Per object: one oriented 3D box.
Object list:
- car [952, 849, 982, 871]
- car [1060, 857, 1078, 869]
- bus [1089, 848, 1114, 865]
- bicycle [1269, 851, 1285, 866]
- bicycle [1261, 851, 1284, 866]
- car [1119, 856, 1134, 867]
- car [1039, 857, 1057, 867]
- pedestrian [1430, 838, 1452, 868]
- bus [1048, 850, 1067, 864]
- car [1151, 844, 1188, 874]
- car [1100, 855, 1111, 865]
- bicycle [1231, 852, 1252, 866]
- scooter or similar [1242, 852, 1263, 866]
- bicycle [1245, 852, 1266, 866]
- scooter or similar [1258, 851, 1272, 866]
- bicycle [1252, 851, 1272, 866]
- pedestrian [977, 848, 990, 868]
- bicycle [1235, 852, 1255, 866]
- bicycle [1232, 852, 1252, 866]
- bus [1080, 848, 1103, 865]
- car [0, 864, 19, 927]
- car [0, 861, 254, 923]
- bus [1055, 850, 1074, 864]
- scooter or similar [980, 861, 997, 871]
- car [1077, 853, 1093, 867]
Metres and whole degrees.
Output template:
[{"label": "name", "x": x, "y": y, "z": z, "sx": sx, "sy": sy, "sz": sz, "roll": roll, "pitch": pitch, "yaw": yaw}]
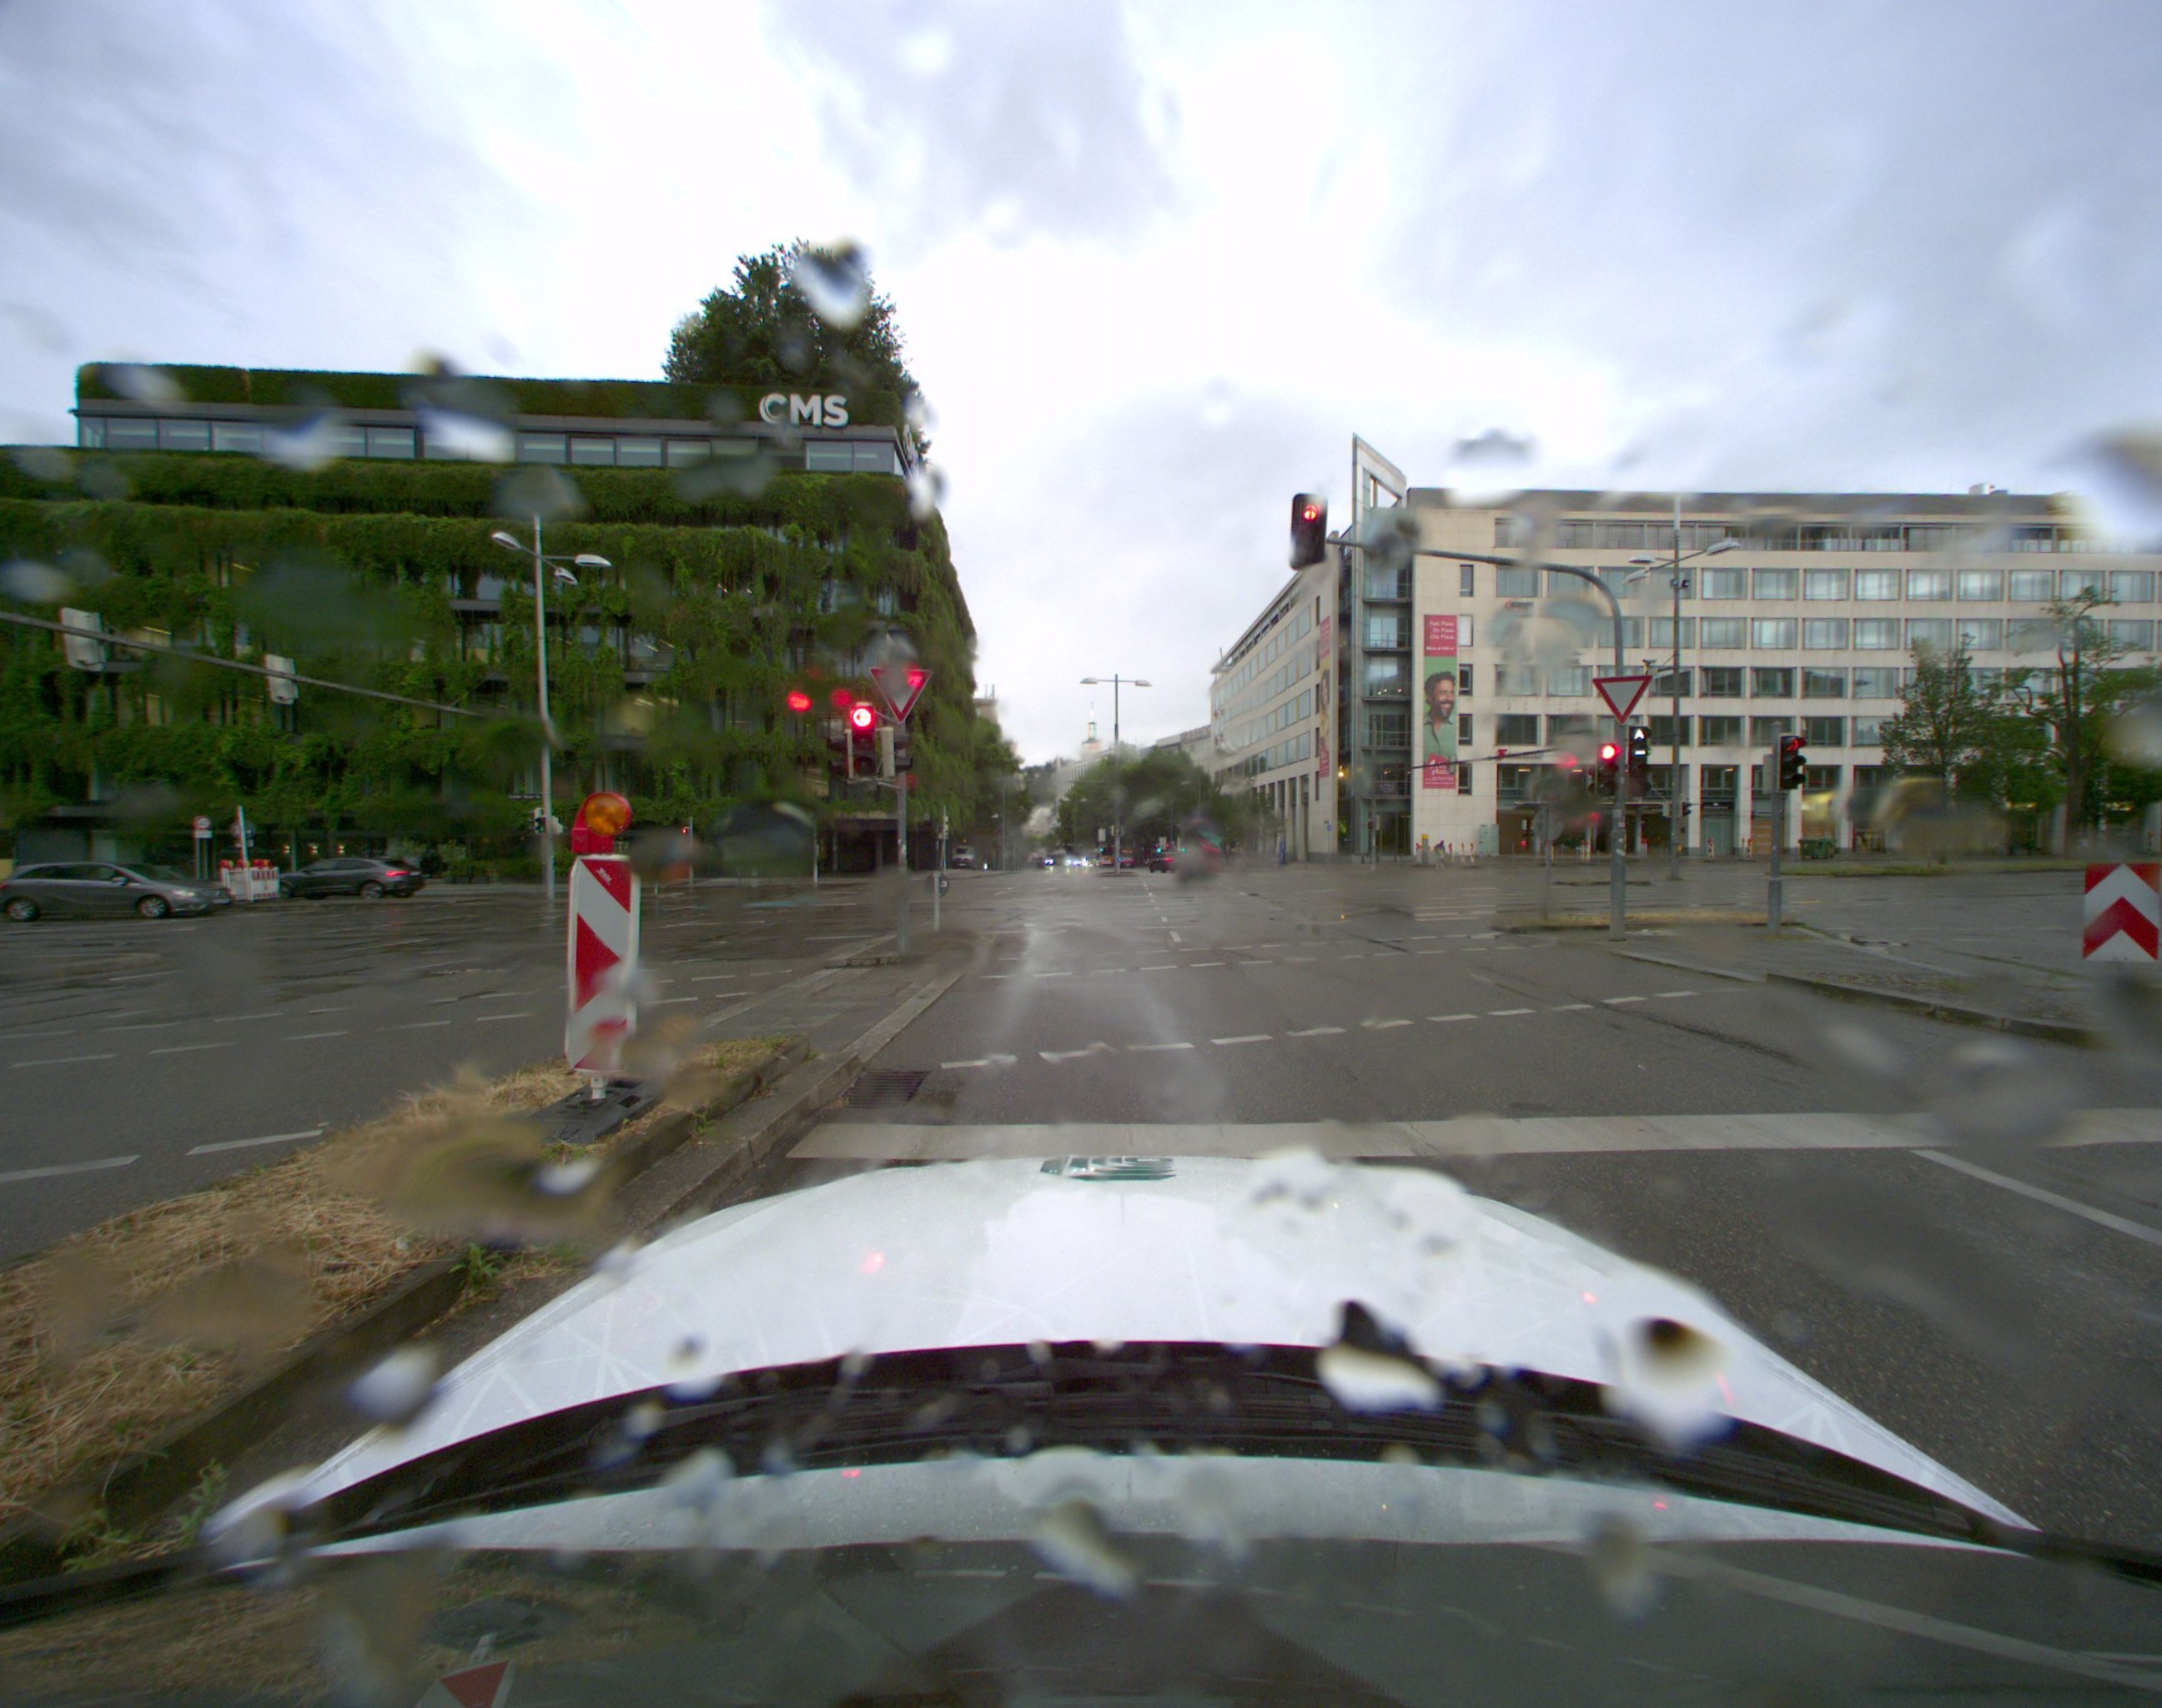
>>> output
[{"label": "car", "x": -9.560, "y": 0.510, "z": 68.727, "sx": 1.863, "sy": 1.839, "sz": 4.001, "roll": 0, "pitch": -1, "yaw": 2}, {"label": "car", "x": -1.900, "y": 1.395, "z": 127.852, "sx": 2.163, "sy": 1.765, "sz": 4.816, "roll": -2, "pitch": 0, "yaw": -9}, {"label": "bus", "x": 3.682, "y": 0.429, "z": 146.081, "sx": 2.631, "sy": 2.995, "sz": 7.415, "roll": -1, "pitch": 0, "yaw": -13}, {"label": "bicycle", "x": 16.050, "y": 0.383, "z": 66.727, "sx": 0.579, "sy": 1.194, "sz": 1.794, "roll": -1, "pitch": -1, "yaw": 40}, {"label": "bicycle", "x": 15.200, "y": 0.372, "z": 64.637, "sx": 1.607, "sy": 1.194, "sz": 0.590, "roll": -1, "pitch": -1, "yaw": 27}, {"label": "car", "x": 5.958, "y": 0.989, "z": 107.254, "sx": 1.775, "sy": 1.508, "sz": 4.001, "roll": 0, "pitch": -1, "yaw": 2}, {"label": "car", "x": -6.258, "y": 1.520, "z": 155.128, "sx": 2.170, "sy": 1.765, "sz": 5.081, "roll": 0, "pitch": -1, "yaw": -18}, {"label": "pedestrian", "x": 21.863, "y": -0.072, "z": 49.419, "sx": 0.958, "sy": 1.816, "sz": 0.837, "roll": 0, "pitch": -1, "yaw": 1}, {"label": "bus", "x": -5.236, "y": 0.614, "z": 180.709, "sx": 2.631, "sy": 2.995, "sz": 7.415, "roll": -1, "pitch": 0, "yaw": -13}, {"label": "car", "x": 6.188, "y": 0.372, "z": 57.401, "sx": 1.543, "sy": 2.014, "sz": 4.655, "roll": 0, "pitch": -1, "yaw": -8}, {"label": "car", "x": 4.017, "y": 0.952, "z": 132.280, "sx": 1.775, "sy": 1.508, "sz": 4.001, "roll": 0, "pitch": -1, "yaw": 2}, {"label": "bicycle", "x": 14.295, "y": 0.444, "z": 72.595, "sx": 1.770, "sy": 1.194, "sz": 0.587, "roll": 0, "pitch": -1, "yaw": 3}, {"label": "scooter or similar", "x": 14.907, "y": 0.424, "z": 70.787, "sx": 1.770, "sy": 1.194, "sz": 0.587, "roll": 0, "pitch": -1, "yaw": 3}, {"label": "bicycle", "x": 15.287, "y": 0.427, "z": 71.401, "sx": 1.770, "sy": 1.194, "sz": 0.587, "roll": 0, "pitch": -1, "yaw": 3}, {"label": "scooter or similar", "x": 14.419, "y": 0.372, "z": 63.971, "sx": 0.951, "sy": 1.194, "sz": 0.458, "roll": -1, "pitch": -1, "yaw": 42}, {"label": "bicycle", "x": 14.727, "y": 0.388, "z": 66.201, "sx": 0.588, "sy": 1.194, "sz": 1.768, "roll": 0, "pitch": -1, "yaw": -26}, {"label": "pedestrian", "x": -8.091, "y": 0.345, "z": 67.743, "sx": 0.930, "sy": 1.644, "sz": 0.774, "roll": 0, "pitch": -1, "yaw": 1}, {"label": "bicycle", "x": 14.938, "y": 0.451, "z": 74.132, "sx": 1.770, "sy": 1.194, "sz": 0.587, "roll": 0, "pitch": -1, "yaw": 3}, {"label": "bicycle", "x": 14.471, "y": 0.447, "z": 73.226, "sx": 1.770, "sy": 1.194, "sz": 0.587, "roll": 0, "pitch": -1, "yaw": 3}, {"label": "bus", "x": 1.989, "y": 0.439, "z": 153.274, "sx": 2.631, "sy": 2.995, "sz": 7.415, "roll": -1, "pitch": 0, "yaw": -13}, {"label": "car", "x": -27.344, "y": 1.007, "z": 18.301, "sx": 3.981, "sy": 1.475, "sz": 1.996, "roll": -1, "pitch": 0, "yaw": -6}, {"label": "car", "x": -26.127, "y": 0.989, "z": 22.058, "sx": 4.901, "sy": 1.488, "sz": 1.924, "roll": -1, "pitch": 0, "yaw": -15}, {"label": "bus", "x": -3.540, "y": 0.642, "z": 173.566, "sx": 2.631, "sy": 2.995, "sz": 7.294, "roll": -1, "pitch": 0, "yaw": -13}, {"label": "scooter or similar", "x": -9.428, "y": 1.187, "z": 82.940, "sx": 0.616, "sy": 1.004, "sz": 1.671, "roll": -1, "pitch": 0, "yaw": 40}, {"label": "car", "x": 0.544, "y": 0.820, "z": 112.069, "sx": 2.158, "sy": 1.765, "sz": 5.109, "roll": 0, "pitch": -1, "yaw": -1}]
